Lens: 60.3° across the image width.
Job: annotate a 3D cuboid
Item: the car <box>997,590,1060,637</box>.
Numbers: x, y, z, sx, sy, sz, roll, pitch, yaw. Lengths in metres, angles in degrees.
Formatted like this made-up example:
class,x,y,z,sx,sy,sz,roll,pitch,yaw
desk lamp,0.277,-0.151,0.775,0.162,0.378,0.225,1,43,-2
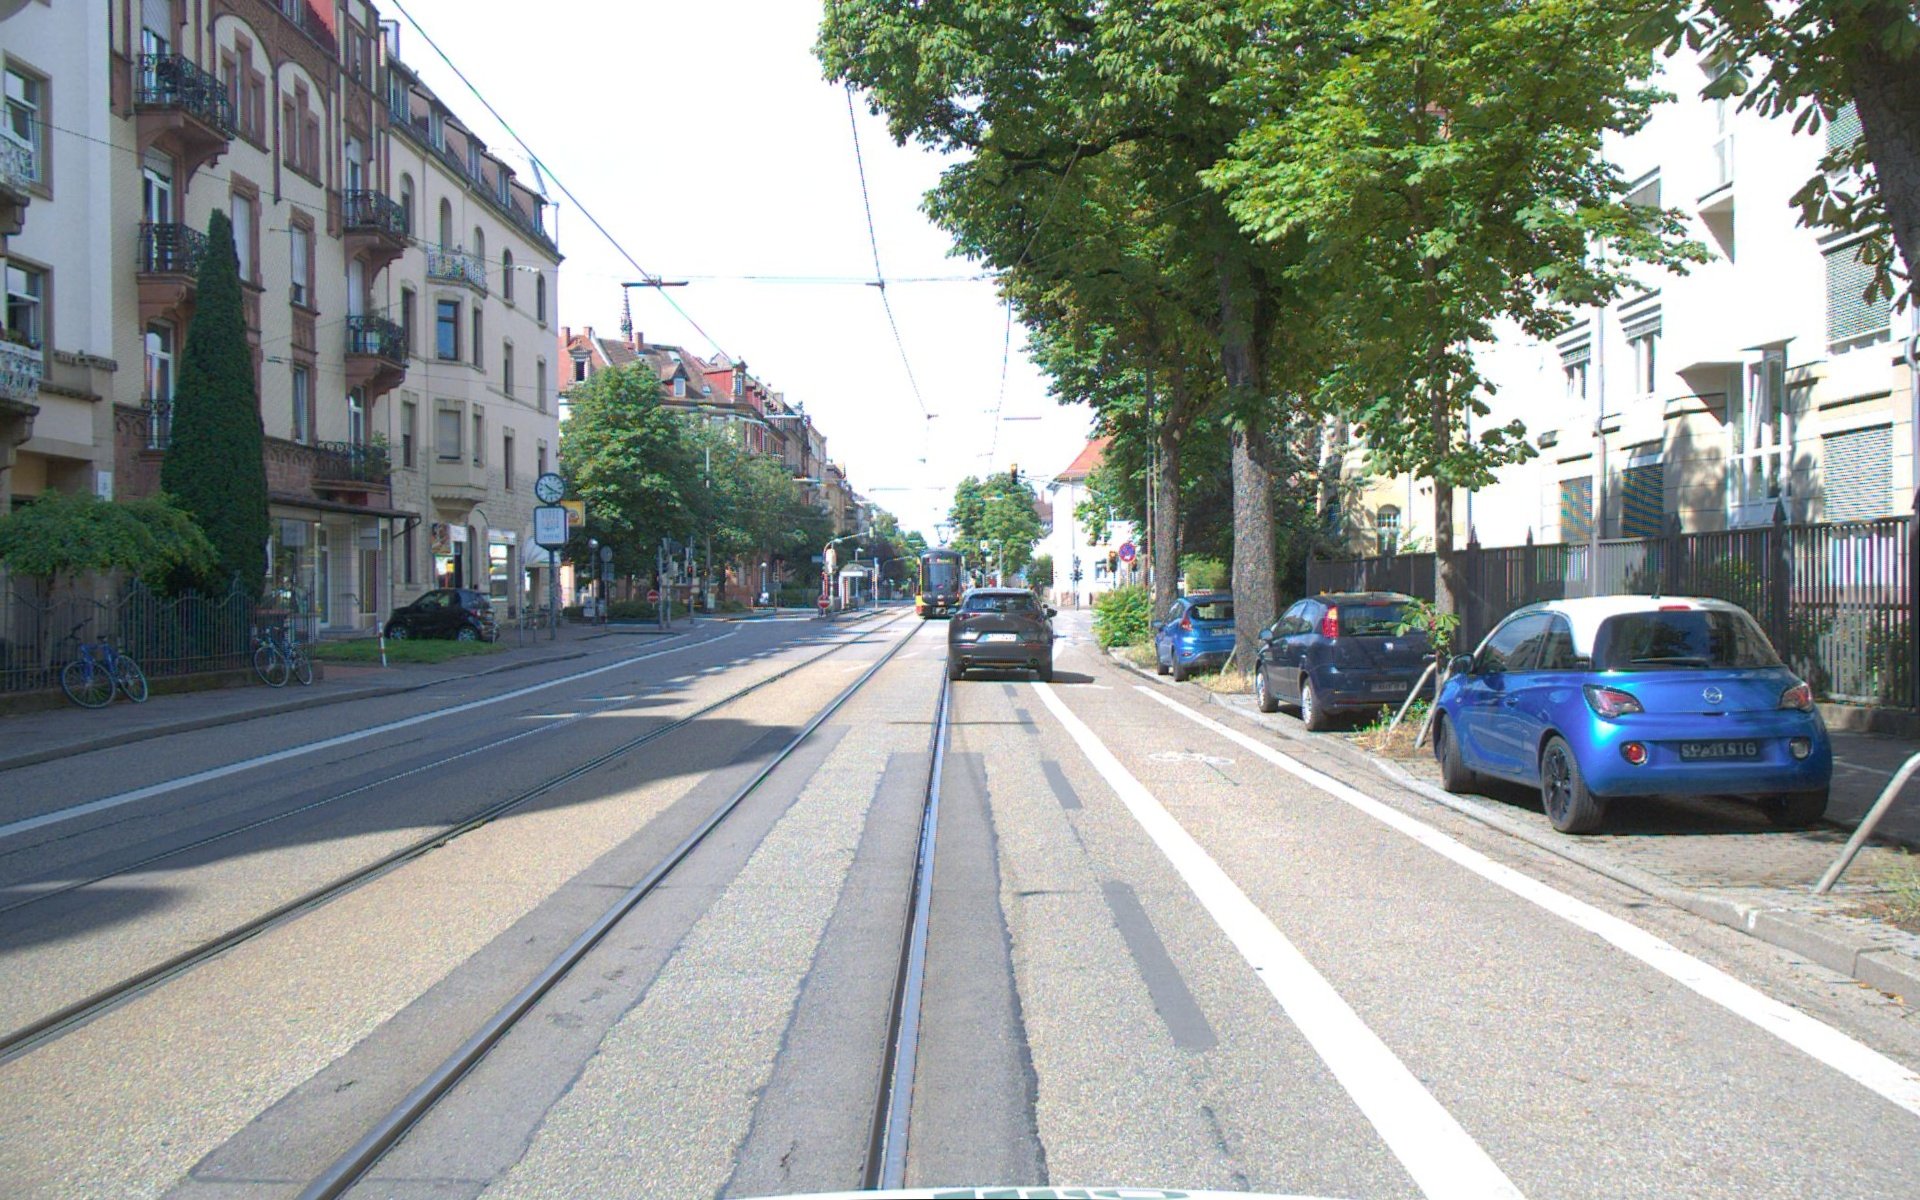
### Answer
class,x,y,z,sx,sy,sz,roll,pitch,yaw
car,2.351,0.431,57.875,1.749,1.518,4.881,-1,1,-3

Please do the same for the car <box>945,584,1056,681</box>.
class,x,y,z,sx,sy,sz,roll,pitch,yaw
car,0.644,0.513,29.071,1.753,1.538,4.350,0,1,-1

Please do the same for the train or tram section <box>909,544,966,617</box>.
class,x,y,z,sx,sy,sz,roll,pitch,yaw
train or tram section,-1.272,-0.967,87.403,2.599,3.589,8.491,-1,0,-3

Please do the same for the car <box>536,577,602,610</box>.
class,x,y,z,sx,sy,sz,roll,pitch,yaw
car,-27.978,-0.476,118.423,4.032,2.048,2.002,-4,0,9

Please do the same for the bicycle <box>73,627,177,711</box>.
class,x,y,z,sx,sy,sz,roll,pitch,yaw
bicycle,-10.634,0.856,21.115,0.417,0.976,1.706,1,1,1

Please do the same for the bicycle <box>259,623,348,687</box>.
class,x,y,z,sx,sy,sz,roll,pitch,yaw
bicycle,-10.567,0.878,26.679,0.500,0.976,1.816,2,-1,7

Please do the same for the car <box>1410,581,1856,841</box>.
class,x,y,z,sx,sy,sz,roll,pitch,yaw
car,4.602,0.663,11.906,1.606,1.522,3.626,-2,0,-2

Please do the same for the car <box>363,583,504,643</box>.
class,x,y,z,sx,sy,sz,roll,pitch,yaw
car,-14.078,0.342,44.302,3.169,1.539,1.679,1,0,3

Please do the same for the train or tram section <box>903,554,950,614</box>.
class,x,y,z,sx,sy,sz,roll,pitch,yaw
train or tram section,-2.185,-0.959,104.378,2.599,3.589,8.491,-1,0,-3

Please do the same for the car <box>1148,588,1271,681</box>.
class,x,y,z,sx,sy,sz,roll,pitch,yaw
car,4.498,0.577,30.253,1.591,1.522,3.847,-3,0,0

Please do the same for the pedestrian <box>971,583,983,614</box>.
class,x,y,z,sx,sy,sz,roll,pitch,yaw
pedestrian,0.917,-0.081,89.508,0.654,1.633,0.699,0,0,-2

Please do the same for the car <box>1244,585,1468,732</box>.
class,x,y,z,sx,sy,sz,roll,pitch,yaw
car,4.612,0.616,19.771,1.607,1.522,3.756,-2,0,-2

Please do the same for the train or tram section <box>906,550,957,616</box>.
class,x,y,z,sx,sy,sz,roll,pitch,yaw
train or tram section,-1.721,-0.963,95.885,2.599,3.589,8.491,-1,0,-3
